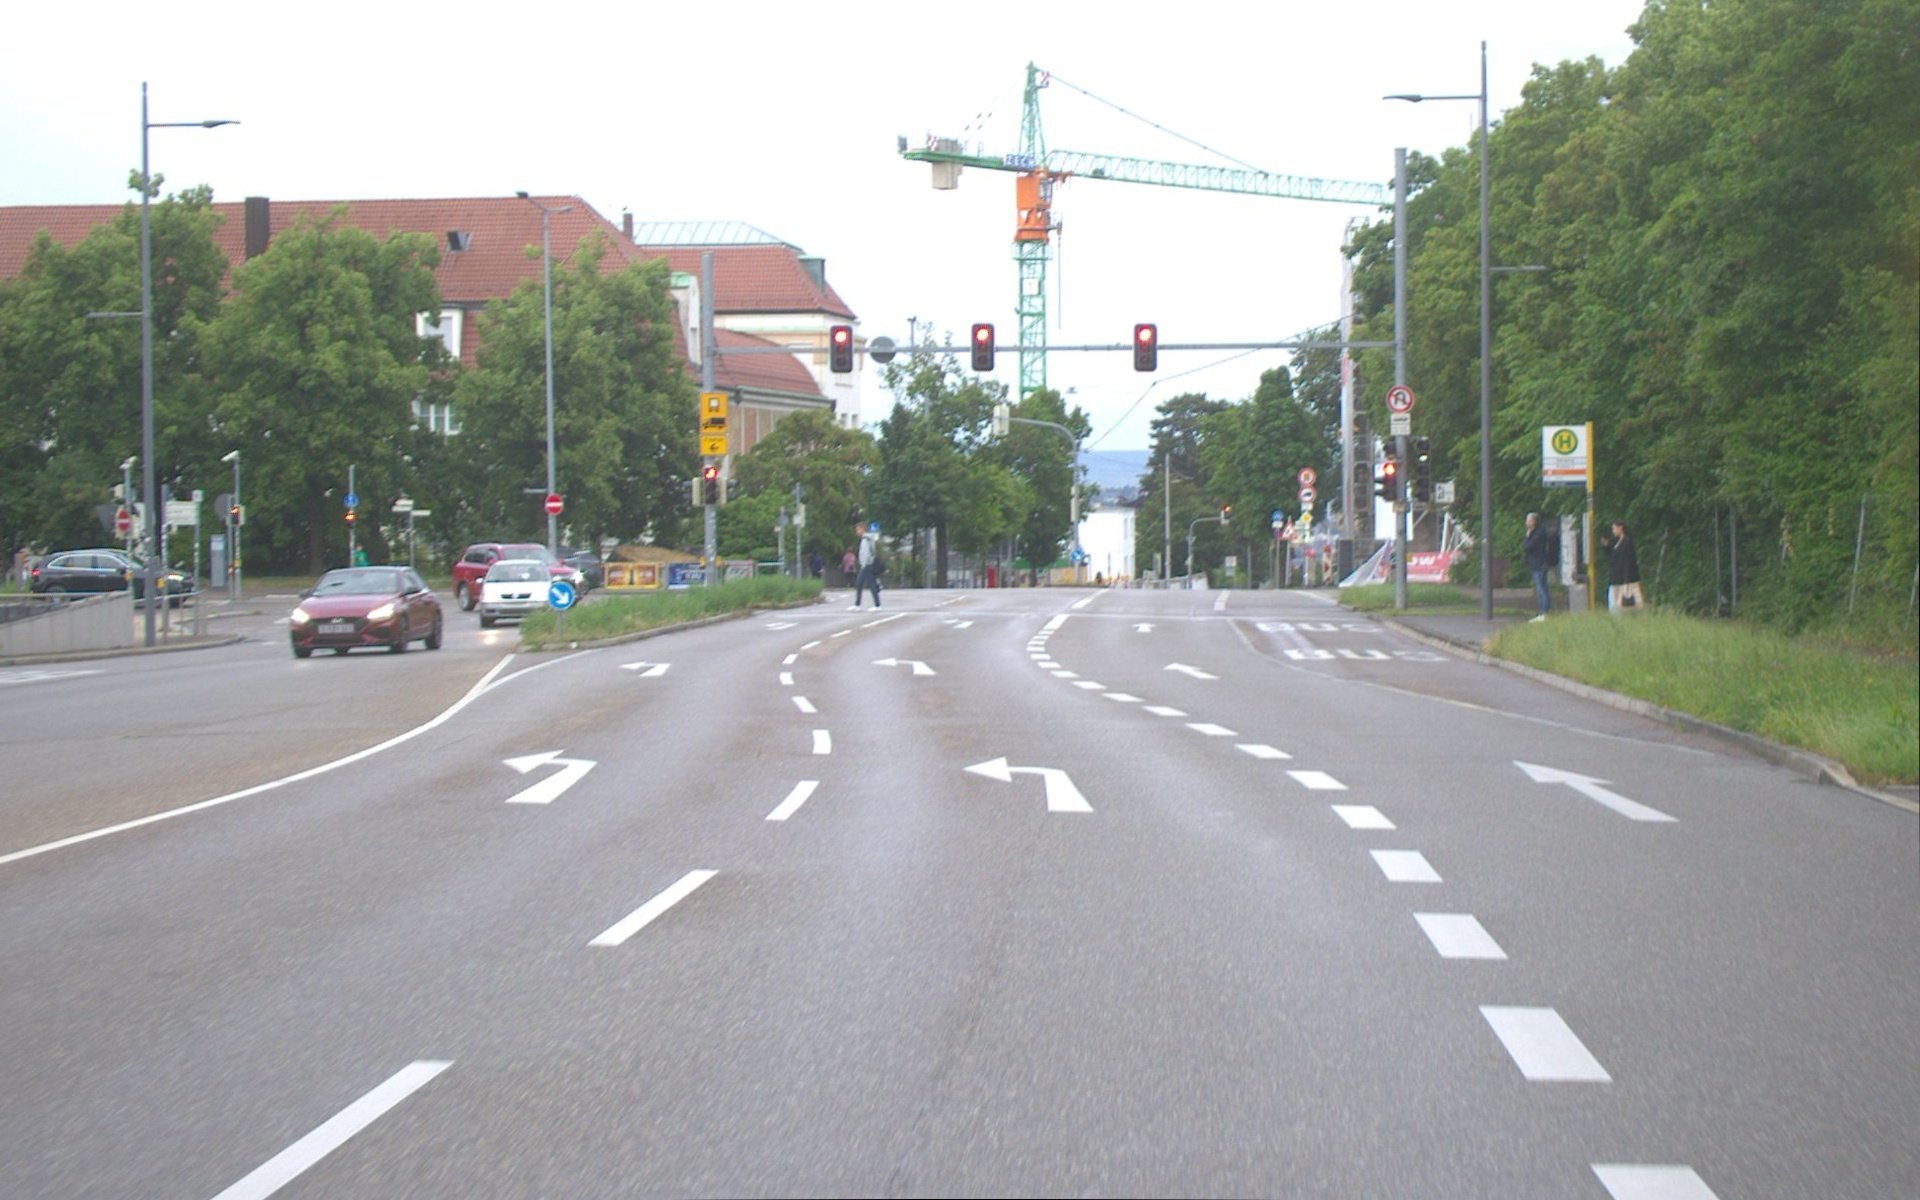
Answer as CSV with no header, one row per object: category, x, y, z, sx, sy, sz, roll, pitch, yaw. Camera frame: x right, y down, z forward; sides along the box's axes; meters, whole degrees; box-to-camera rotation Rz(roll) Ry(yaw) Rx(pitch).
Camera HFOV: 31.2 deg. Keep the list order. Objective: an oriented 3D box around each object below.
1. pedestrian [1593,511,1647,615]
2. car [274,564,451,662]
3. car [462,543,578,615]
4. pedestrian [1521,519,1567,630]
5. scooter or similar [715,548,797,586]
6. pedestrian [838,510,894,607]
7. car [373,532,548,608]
pedestrian,10.563,-0.595,55.022,0.675,1.652,0.793,-1,1,-2
car,-9.751,0.184,56.459,1.832,1.411,4.465,-3,1,3
car,-9.565,-0.477,74.908,1.762,1.411,3.878,-3,1,3
pedestrian,10.113,-0.449,59.557,0.640,1.894,0.718,-1,1,-2
scooter or similar,-7.912,-1.287,133.370,3.088,1.435,0.949,-1,1,2
pedestrian,-1.993,-0.888,72.907,0.940,2.007,0.847,-3,1,9
car,-12.747,-0.757,87.808,3.992,1.910,1.997,0,0,26
